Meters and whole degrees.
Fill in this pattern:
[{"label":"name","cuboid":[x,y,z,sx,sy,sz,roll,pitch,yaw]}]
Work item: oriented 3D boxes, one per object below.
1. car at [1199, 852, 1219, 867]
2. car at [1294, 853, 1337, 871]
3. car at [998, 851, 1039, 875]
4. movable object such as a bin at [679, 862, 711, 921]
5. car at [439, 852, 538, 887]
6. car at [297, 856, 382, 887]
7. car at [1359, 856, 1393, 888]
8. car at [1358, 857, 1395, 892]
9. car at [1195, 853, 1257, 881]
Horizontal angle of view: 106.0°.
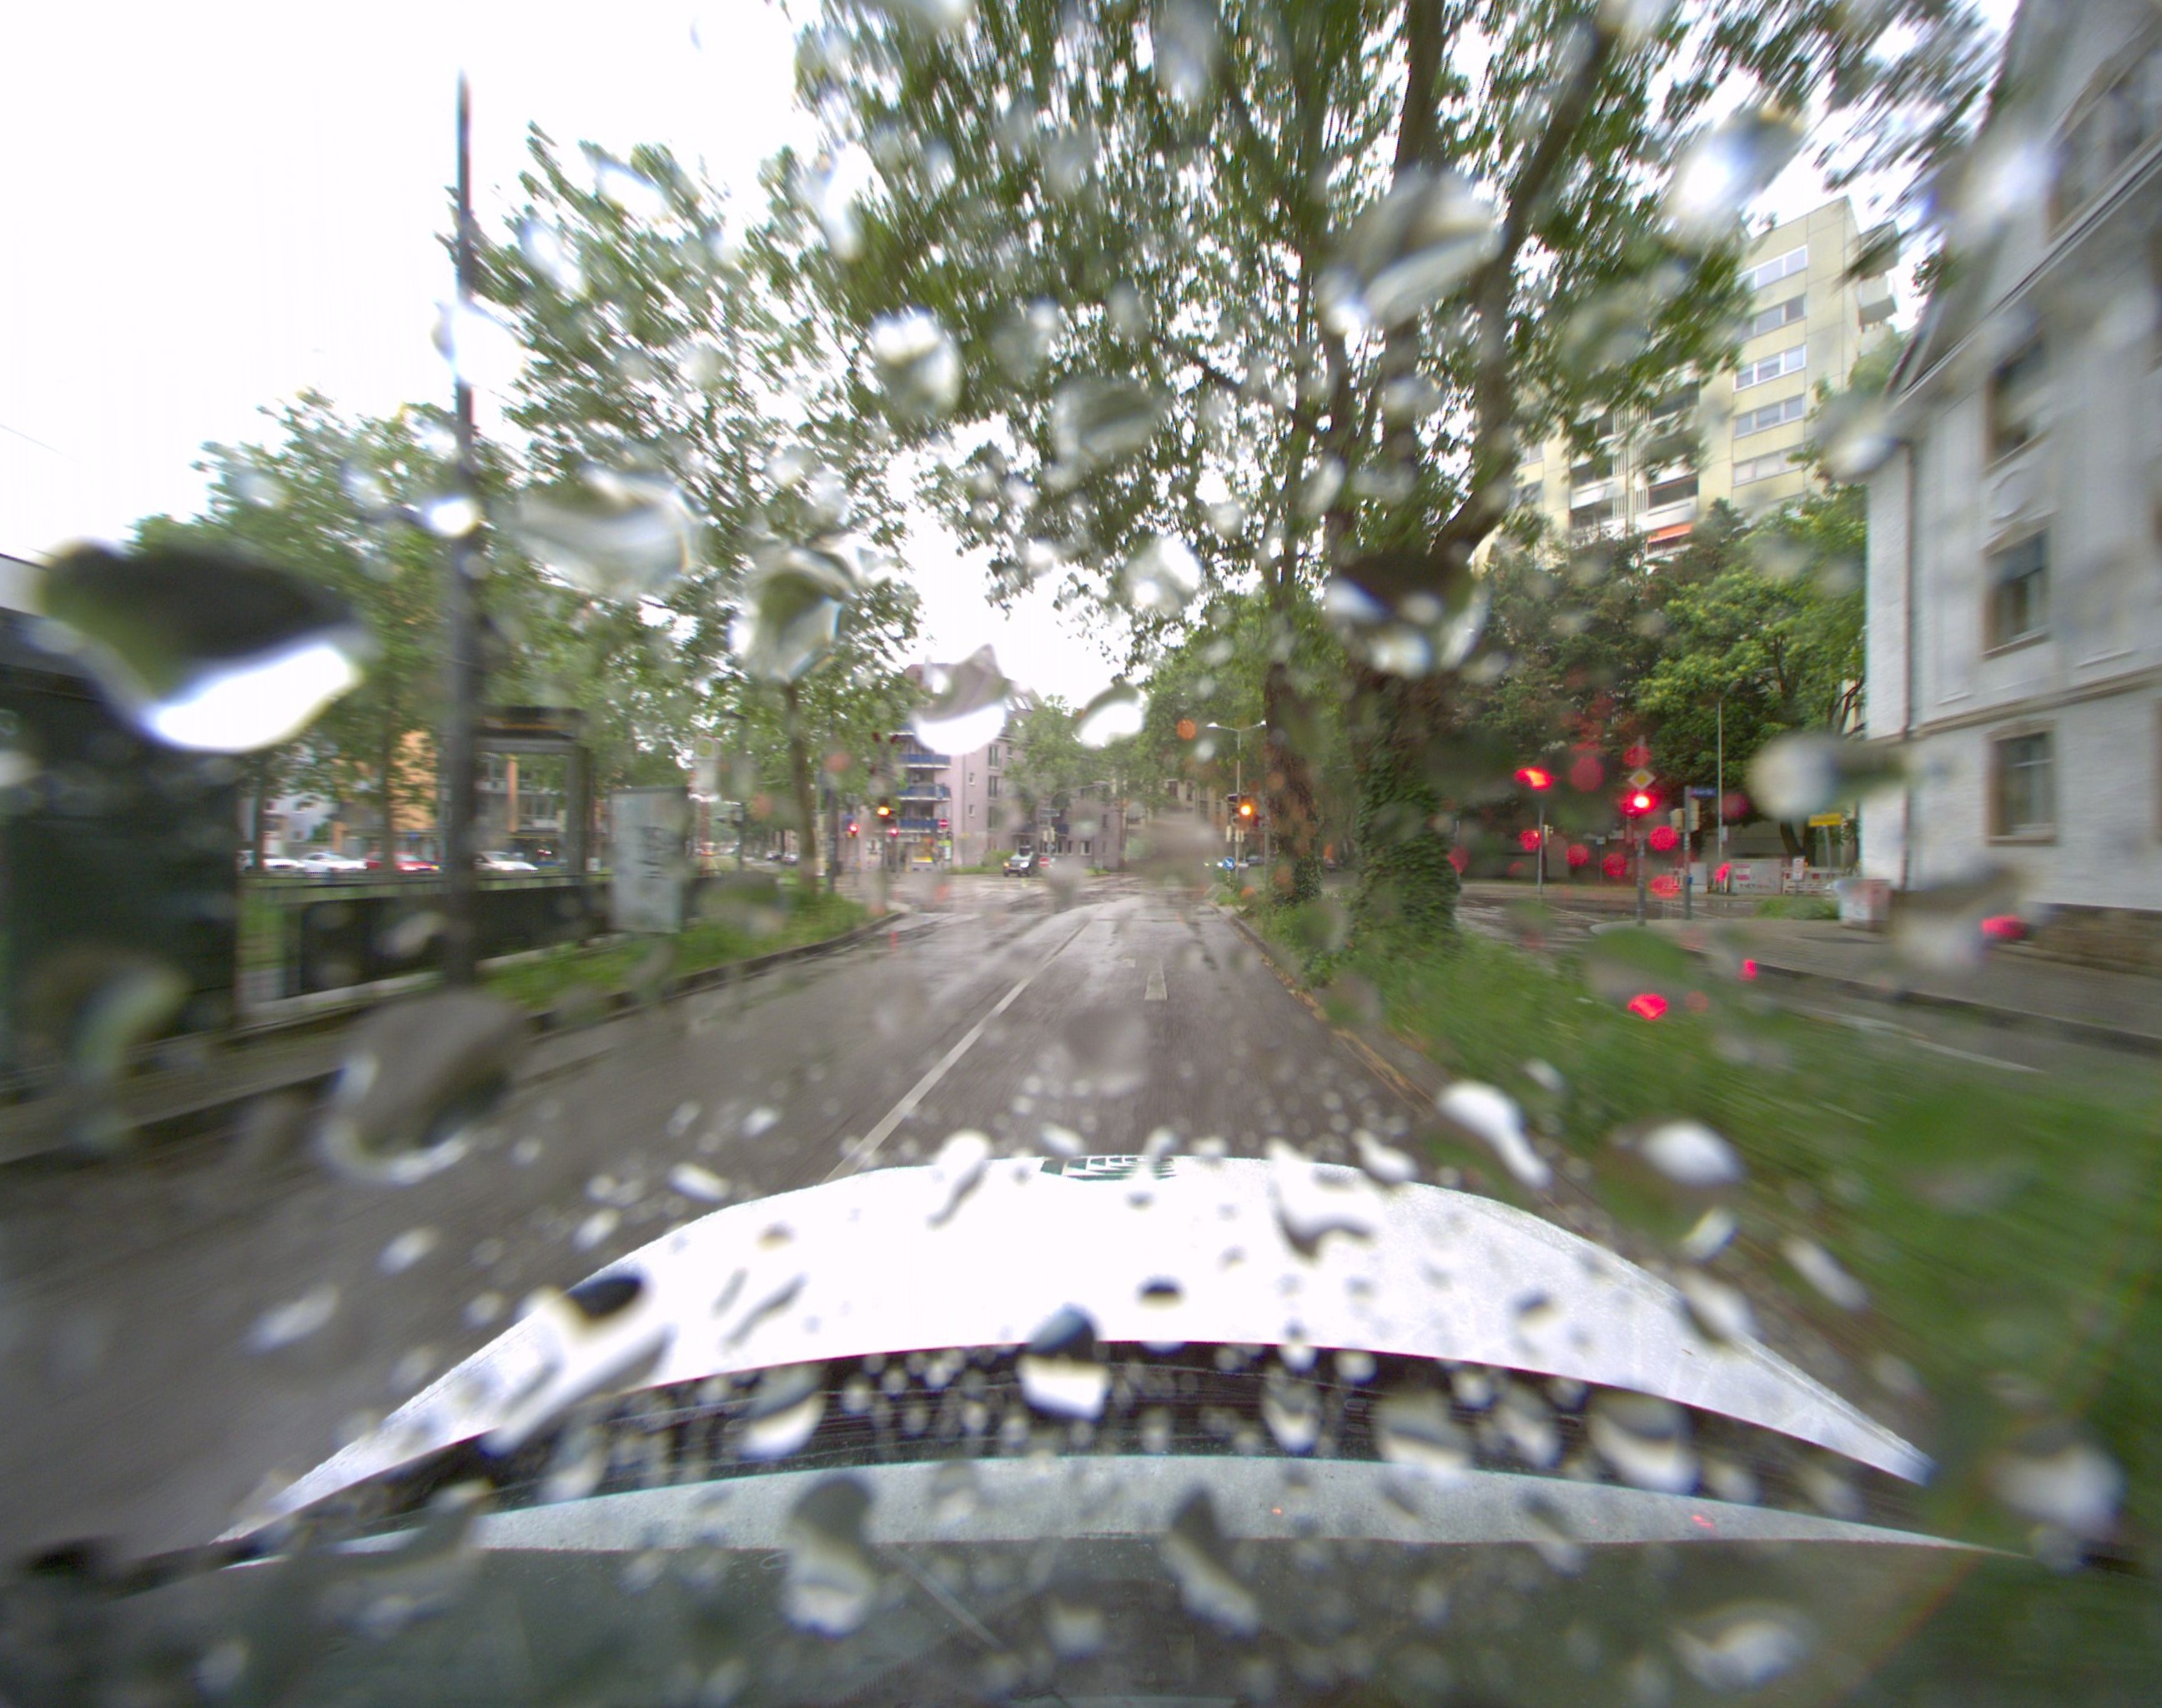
[{"label":"car","cuboid":[13.505,0.559,86.036,1.590,1.552,3.575,-1,0,17]},{"label":"car","cuboid":[22.750,0.768,79.066,3.571,1.618,1.692,-1,0,34]},{"label":"car","cuboid":[-4.141,0.577,54.413,1.713,1.552,3.571,-1,0,12]},{"label":"movable object such as a bin","cuboid":[-7.360,0.700,15.539,0.417,1.090,0.529,-1,0,-11]},{"label":"car","cuboid":[-29.518,0.772,40.598,3.974,1.651,1.982,-1,0,17]},{"label":"car","cuboid":[-40.809,0.958,44.829,3.751,1.639,1.733,-1,0,17]},{"label":"car","cuboid":[19.908,1.201,54.847,1.976,2.013,4.021,-1,0,22]},{"label":"car","cuboid":[18.324,1.250,50.452,1.976,2.013,4.021,-1,0,22]},{"label":"car","cuboid":[8.497,0.775,47.598,3.454,1.523,1.526,-1,0,14]}]
